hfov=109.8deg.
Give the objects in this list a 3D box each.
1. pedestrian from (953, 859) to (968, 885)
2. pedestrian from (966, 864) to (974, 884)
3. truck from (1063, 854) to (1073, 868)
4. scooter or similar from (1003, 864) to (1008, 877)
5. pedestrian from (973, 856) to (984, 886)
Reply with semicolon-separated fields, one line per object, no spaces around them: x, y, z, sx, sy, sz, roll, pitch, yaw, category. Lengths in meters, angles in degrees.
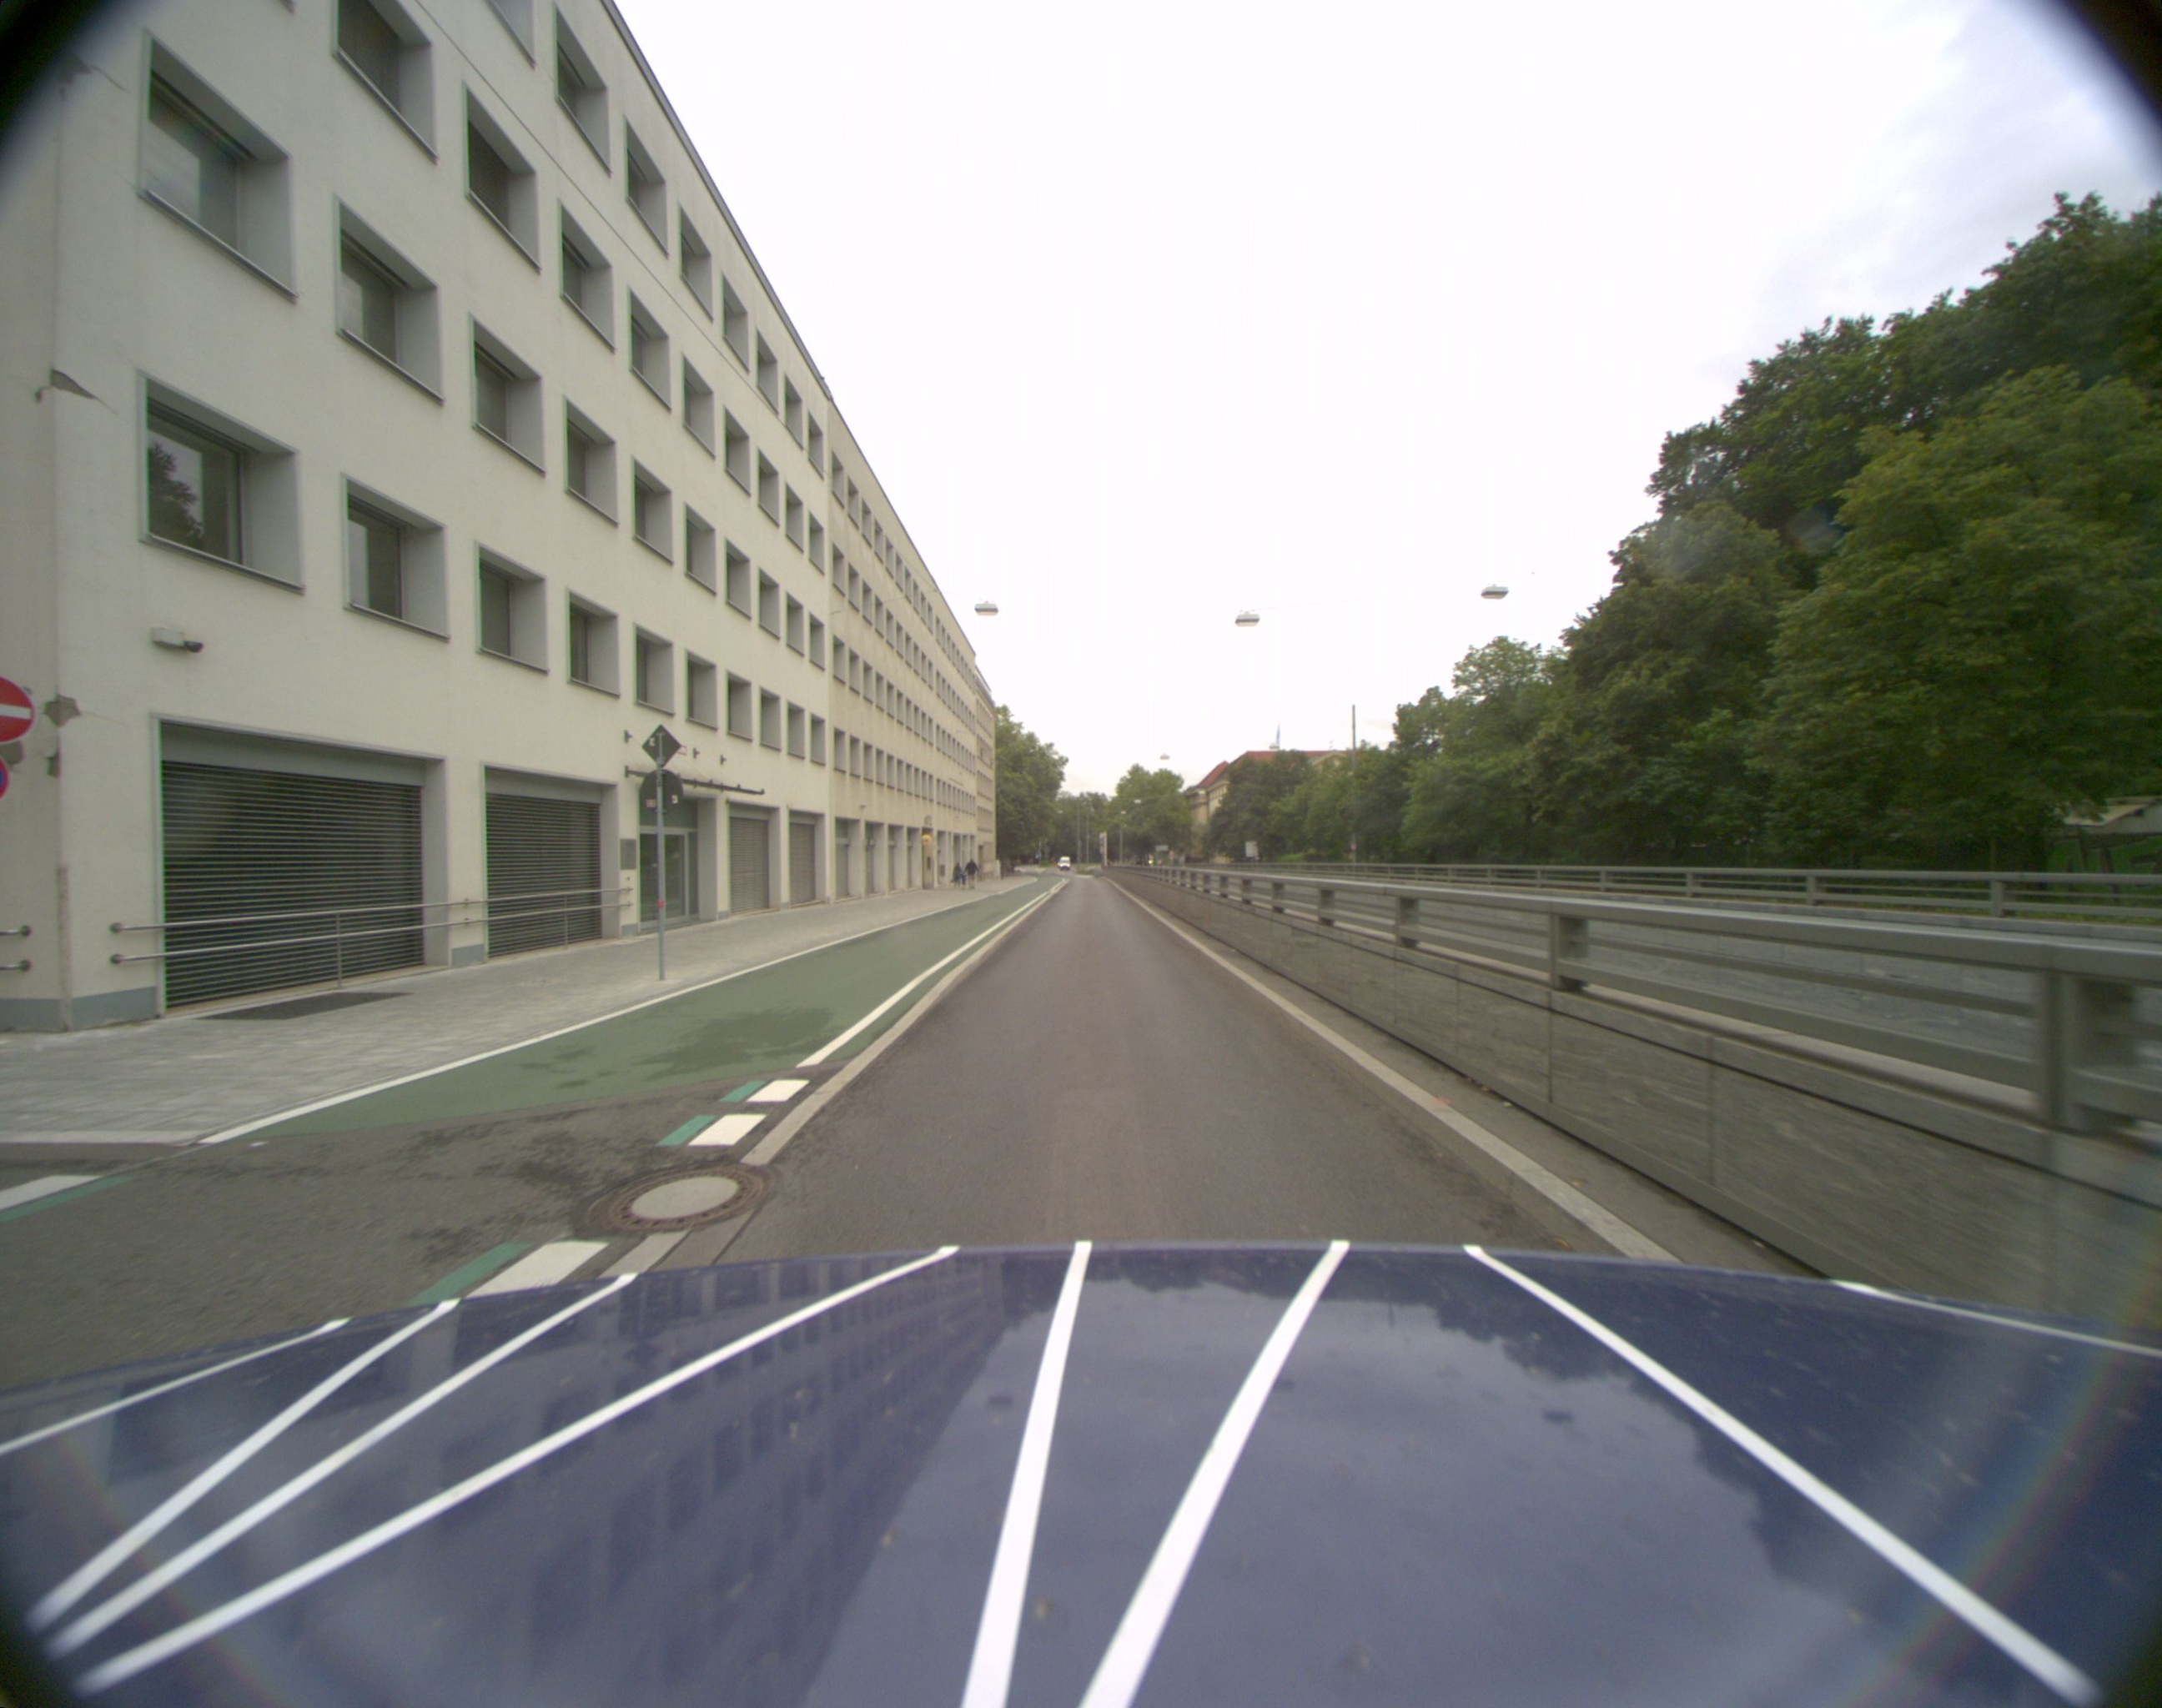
-7.673;1.171;48.574;0.754;1.610;0.704;3;1;1;pedestrian
-6.863;1.224;46.932;0.368;1.239;0.470;3;1;1;pedestrian
-2.642;1.404;154.614;2.058;2.625;4.412;-1;0;-1;truck
-7.704;1.639;77.272;0.387;1.265;1.119;1;1;0;scooter or similar
-6.354;1.061;47.008;0.514;1.825;0.602;3;1;1;pedestrian
